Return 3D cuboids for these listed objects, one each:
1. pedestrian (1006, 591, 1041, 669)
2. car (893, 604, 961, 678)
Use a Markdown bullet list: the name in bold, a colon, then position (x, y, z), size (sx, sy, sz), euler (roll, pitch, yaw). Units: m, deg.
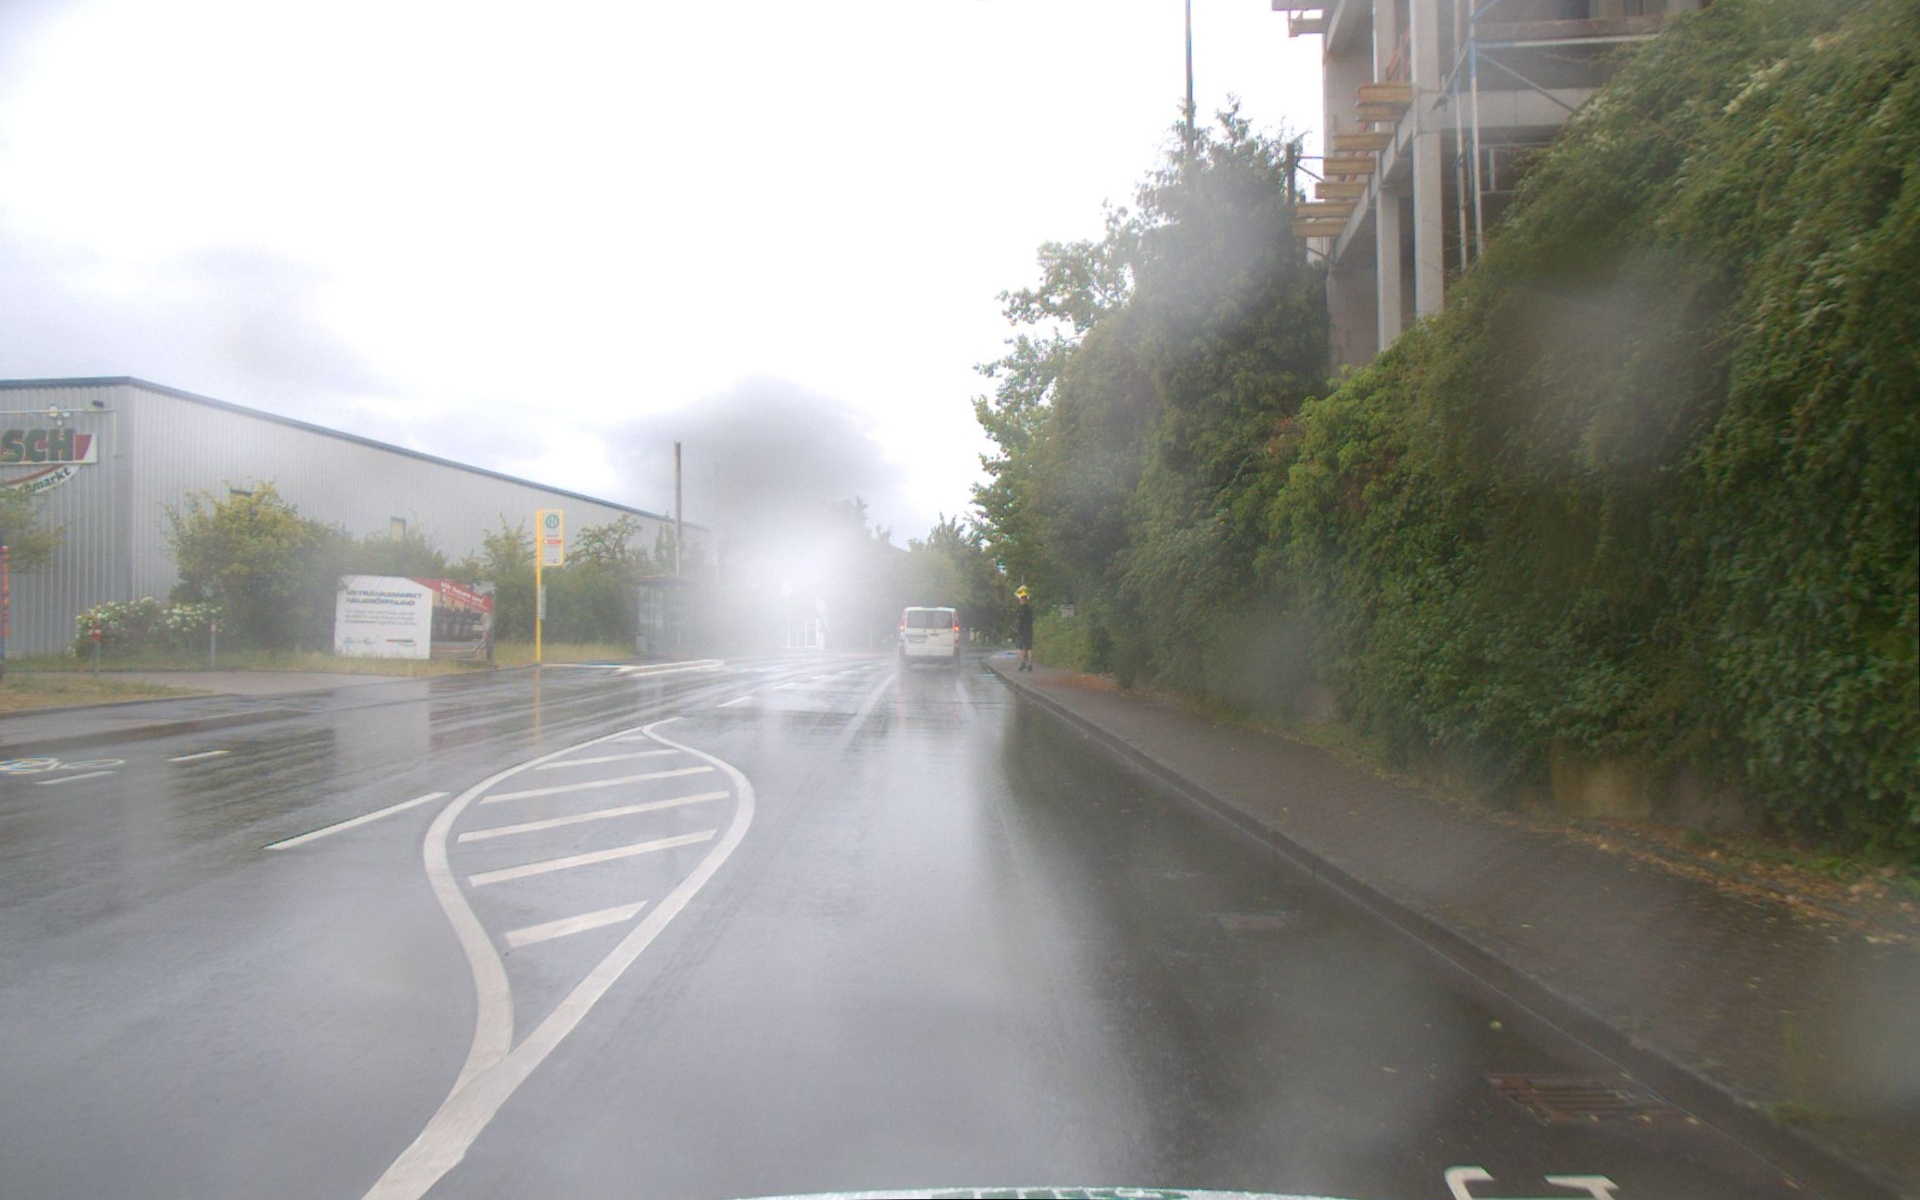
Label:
- **pedestrian**: position (1.630, 0.769, 42.539), size (0.761, 1.940, 0.728), euler (-3, -2, -2)
- **car**: position (-0.978, 1.204, 50.703), size (1.860, 2.053, 5.372), euler (-3, 0, 0)
